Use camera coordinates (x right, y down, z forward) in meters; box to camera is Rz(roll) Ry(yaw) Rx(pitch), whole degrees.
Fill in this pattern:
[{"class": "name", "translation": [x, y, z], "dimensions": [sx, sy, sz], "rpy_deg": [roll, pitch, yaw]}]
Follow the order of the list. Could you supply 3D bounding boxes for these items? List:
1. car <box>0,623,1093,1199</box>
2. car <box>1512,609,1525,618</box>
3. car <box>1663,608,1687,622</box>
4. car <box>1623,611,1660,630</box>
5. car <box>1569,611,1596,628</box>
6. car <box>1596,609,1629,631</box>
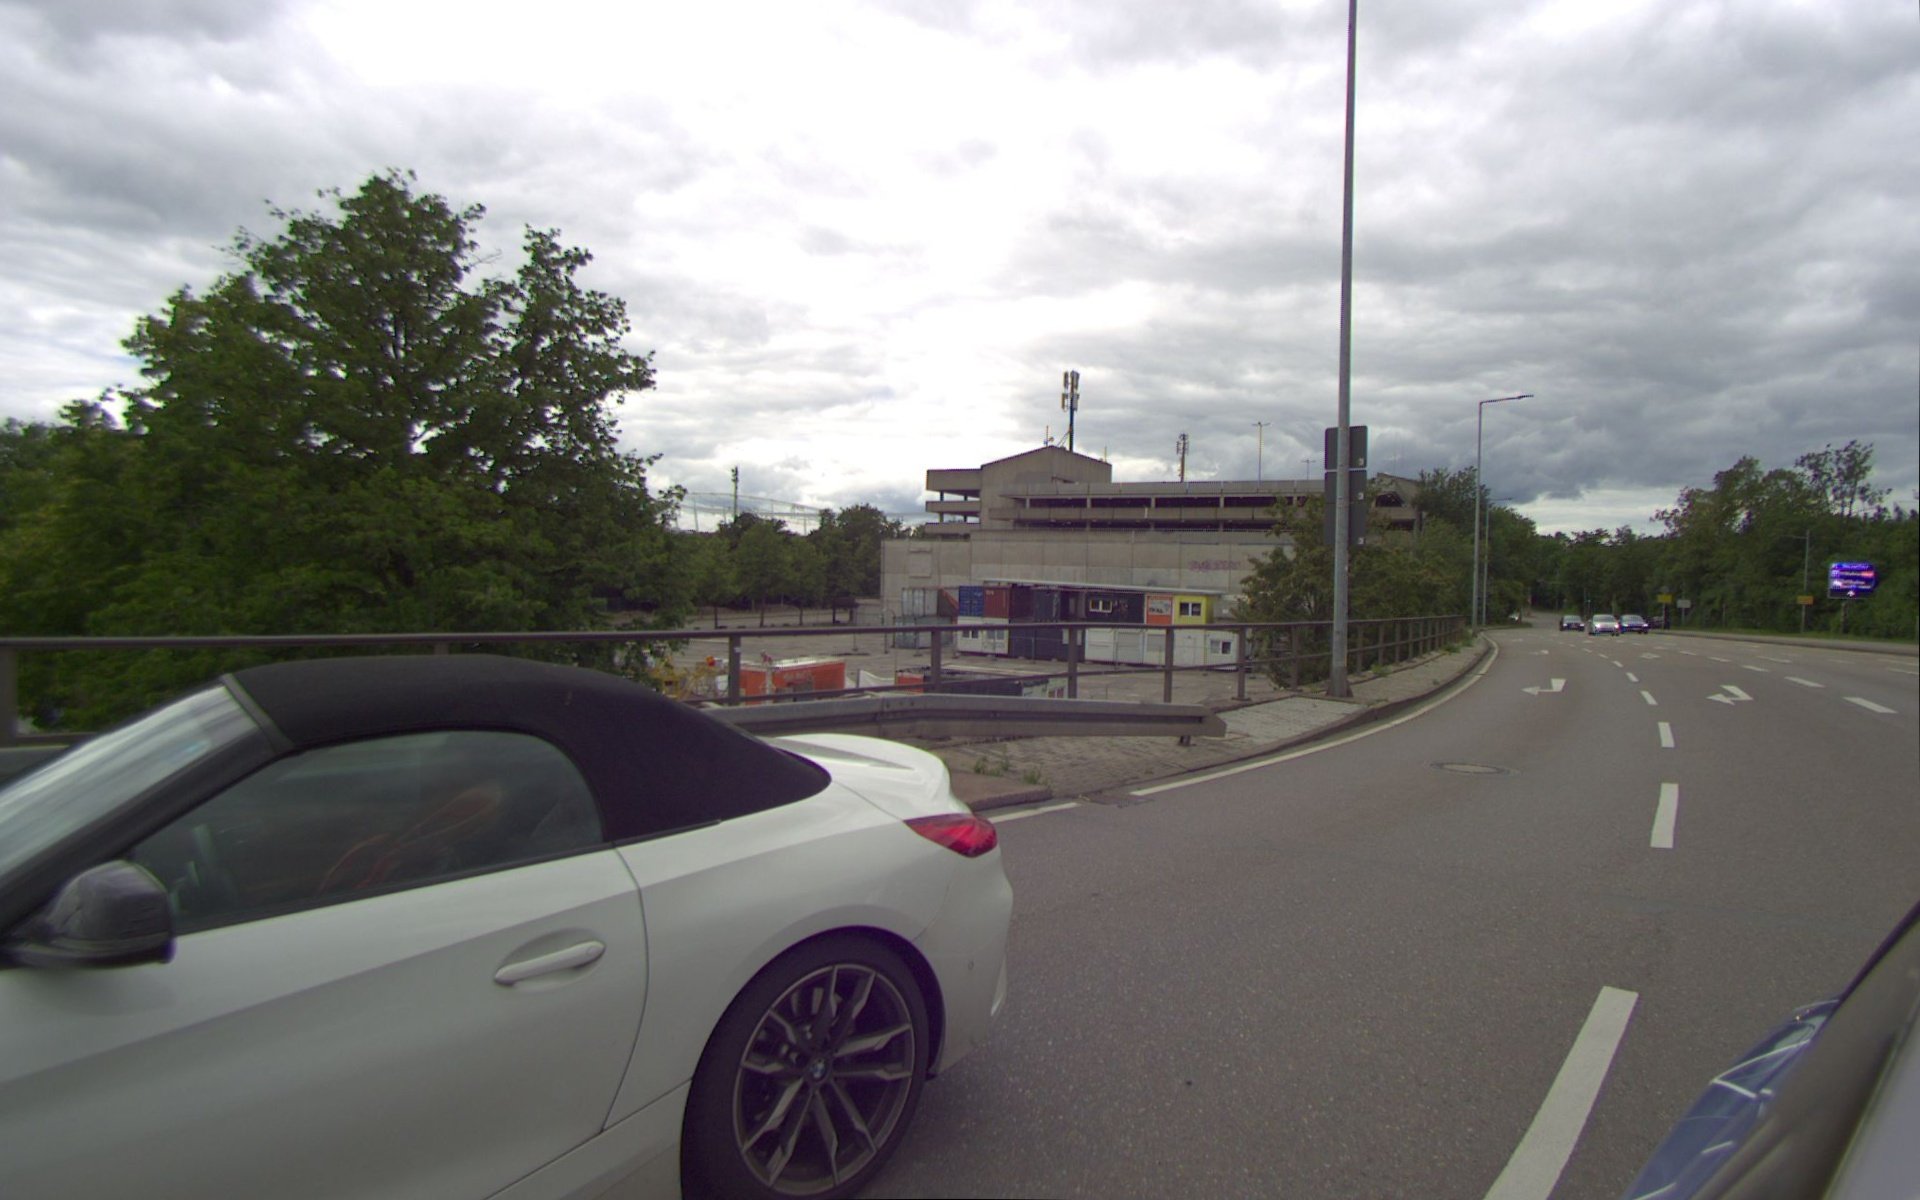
[{"class": "car", "translation": [-1.802, 0.755, 2.348], "dimensions": [4.186, 1.308, 1.809], "rpy_deg": [0, 0, -39]}, {"class": "car", "translation": [98.763, 2.398, 179.090], "dimensions": [1.848, 1.434, 4.297], "rpy_deg": [1, 0, 27]}, {"class": "car", "translation": [79.778, 1.678, 113.005], "dimensions": [1.689, 1.482, 3.960], "rpy_deg": [-1, 0, 28]}, {"class": "car", "translation": [53.390, 1.578, 79.394], "dimensions": [1.826, 1.434, 4.537], "rpy_deg": [1, 0, 27]}, {"class": "car", "translation": [55.756, 1.721, 90.711], "dimensions": [1.850, 1.434, 4.293], "rpy_deg": [1, 0, 30]}, {"class": "car", "translation": [45.367, 1.395, 70.417], "dimensions": [1.596, 1.434, 3.555], "rpy_deg": [1, 0, 28]}]
